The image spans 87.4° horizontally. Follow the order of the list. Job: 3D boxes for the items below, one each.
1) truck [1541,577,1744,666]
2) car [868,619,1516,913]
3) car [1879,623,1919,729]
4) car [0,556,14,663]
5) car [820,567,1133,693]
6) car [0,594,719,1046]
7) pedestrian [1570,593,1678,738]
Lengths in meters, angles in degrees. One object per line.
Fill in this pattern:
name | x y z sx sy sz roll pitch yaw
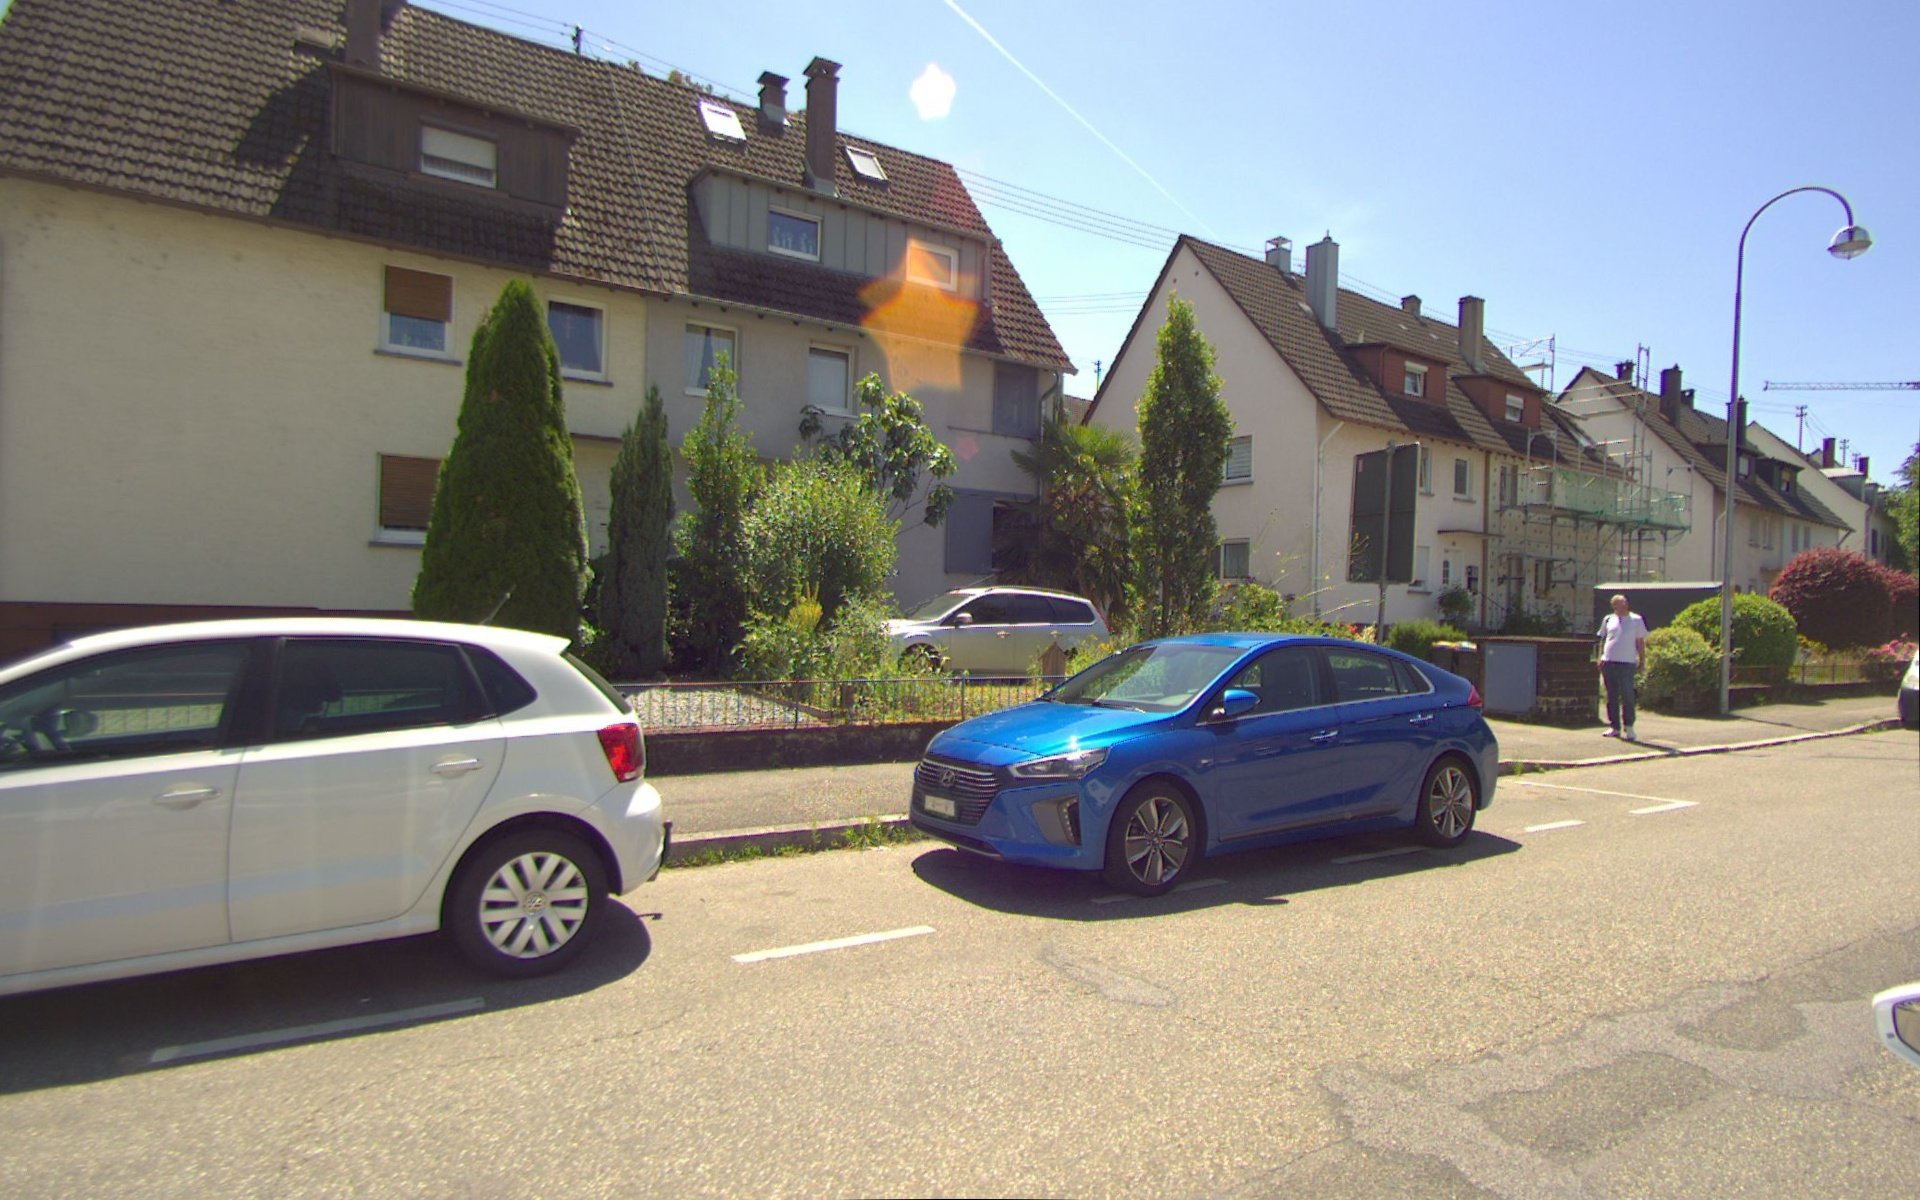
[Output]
truck | 16.307 0.498 24.162 1.530 1.963 3.746 1 -1 -33
car | 1.700 0.914 6.864 4.312 1.457 1.760 2 -3 -31
car | 17.656 1.289 17.346 3.845 1.759 1.713 2 -3 -33
car | -13.956 0.150 13.065 1.628 1.557 3.764 1 1 -31
car | 0.301 0.466 14.923 4.313 1.527 1.760 5 -1 -31
car | -3.131 0.739 4.101 3.895 1.442 1.571 2 -3 -31
pedestrian | 9.296 0.905 14.073 1.006 1.915 0.686 3 4 -27
